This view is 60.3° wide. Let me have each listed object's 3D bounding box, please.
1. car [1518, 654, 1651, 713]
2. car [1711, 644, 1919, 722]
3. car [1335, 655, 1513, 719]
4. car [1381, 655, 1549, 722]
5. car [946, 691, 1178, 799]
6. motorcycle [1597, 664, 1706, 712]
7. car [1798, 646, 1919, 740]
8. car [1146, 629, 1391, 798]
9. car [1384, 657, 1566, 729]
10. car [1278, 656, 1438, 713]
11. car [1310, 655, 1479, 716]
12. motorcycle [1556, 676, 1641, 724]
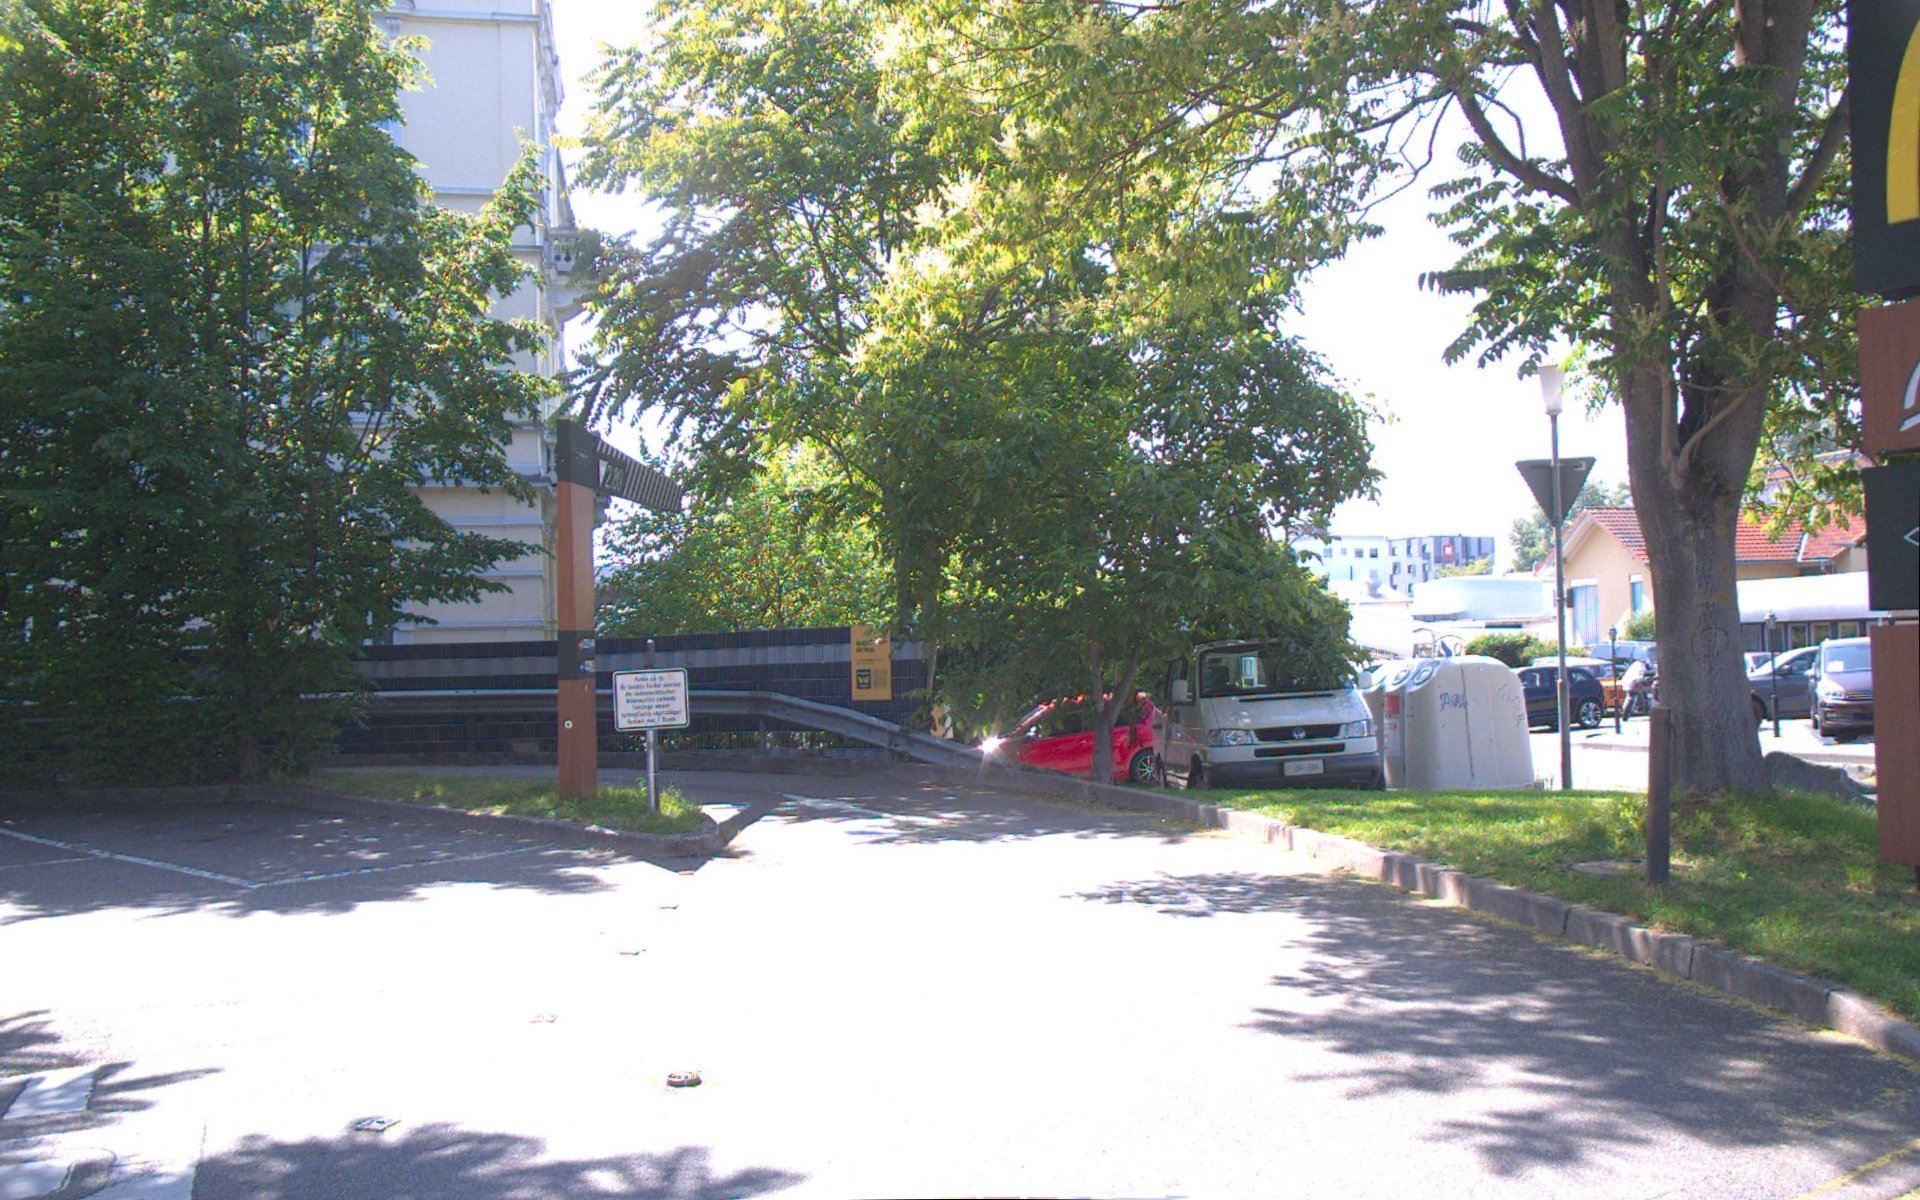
[{"bbox_3d":[18.042,2.400,48.003,1.956,1.613,3.993,0,-2,-7],"label":"car"},{"bbox_3d":[18.666,1.764,35.582,4.228,1.613,2.001,-1,-2,14],"label":"car"},{"bbox_3d":[13.253,2.472,47.305,4.564,1.756,1.991,1,-3,-17],"label":"car"},{"bbox_3d":[13.730,2.391,45.037,3.924,1.756,1.990,1,-3,-17],"label":"car"},{"bbox_3d":[1.548,2.221,25.685,3.340,1.403,1.484,-2,0,-8],"label":"car"},{"bbox_3d":[18.431,2.334,44.101,2.667,1.248,0.994,0,-2,-18],"label":"motorcycle"},{"bbox_3d":[16.533,1.592,29.102,3.962,1.536,1.768,1,-3,-40],"label":"car"},{"bbox_3d":[3.239,1.137,18.369,1.911,1.611,5.032,0,-1,2],"label":"car"},{"bbox_3d":[12.979,2.330,41.784,3.914,1.736,1.995,0,-2,-10],"label":"car"},{"bbox_3d":[12.568,2.654,52.340,4.564,1.756,1.991,1,-3,-17],"label":"car"},{"bbox_3d":[13.115,2.567,49.986,4.564,1.756,1.991,1,-3,-17],"label":"car"},{"bbox_3d":[16.026,2.512,41.535,1.829,1.179,0.790,0,-2,2],"label":"motorcycle"}]
